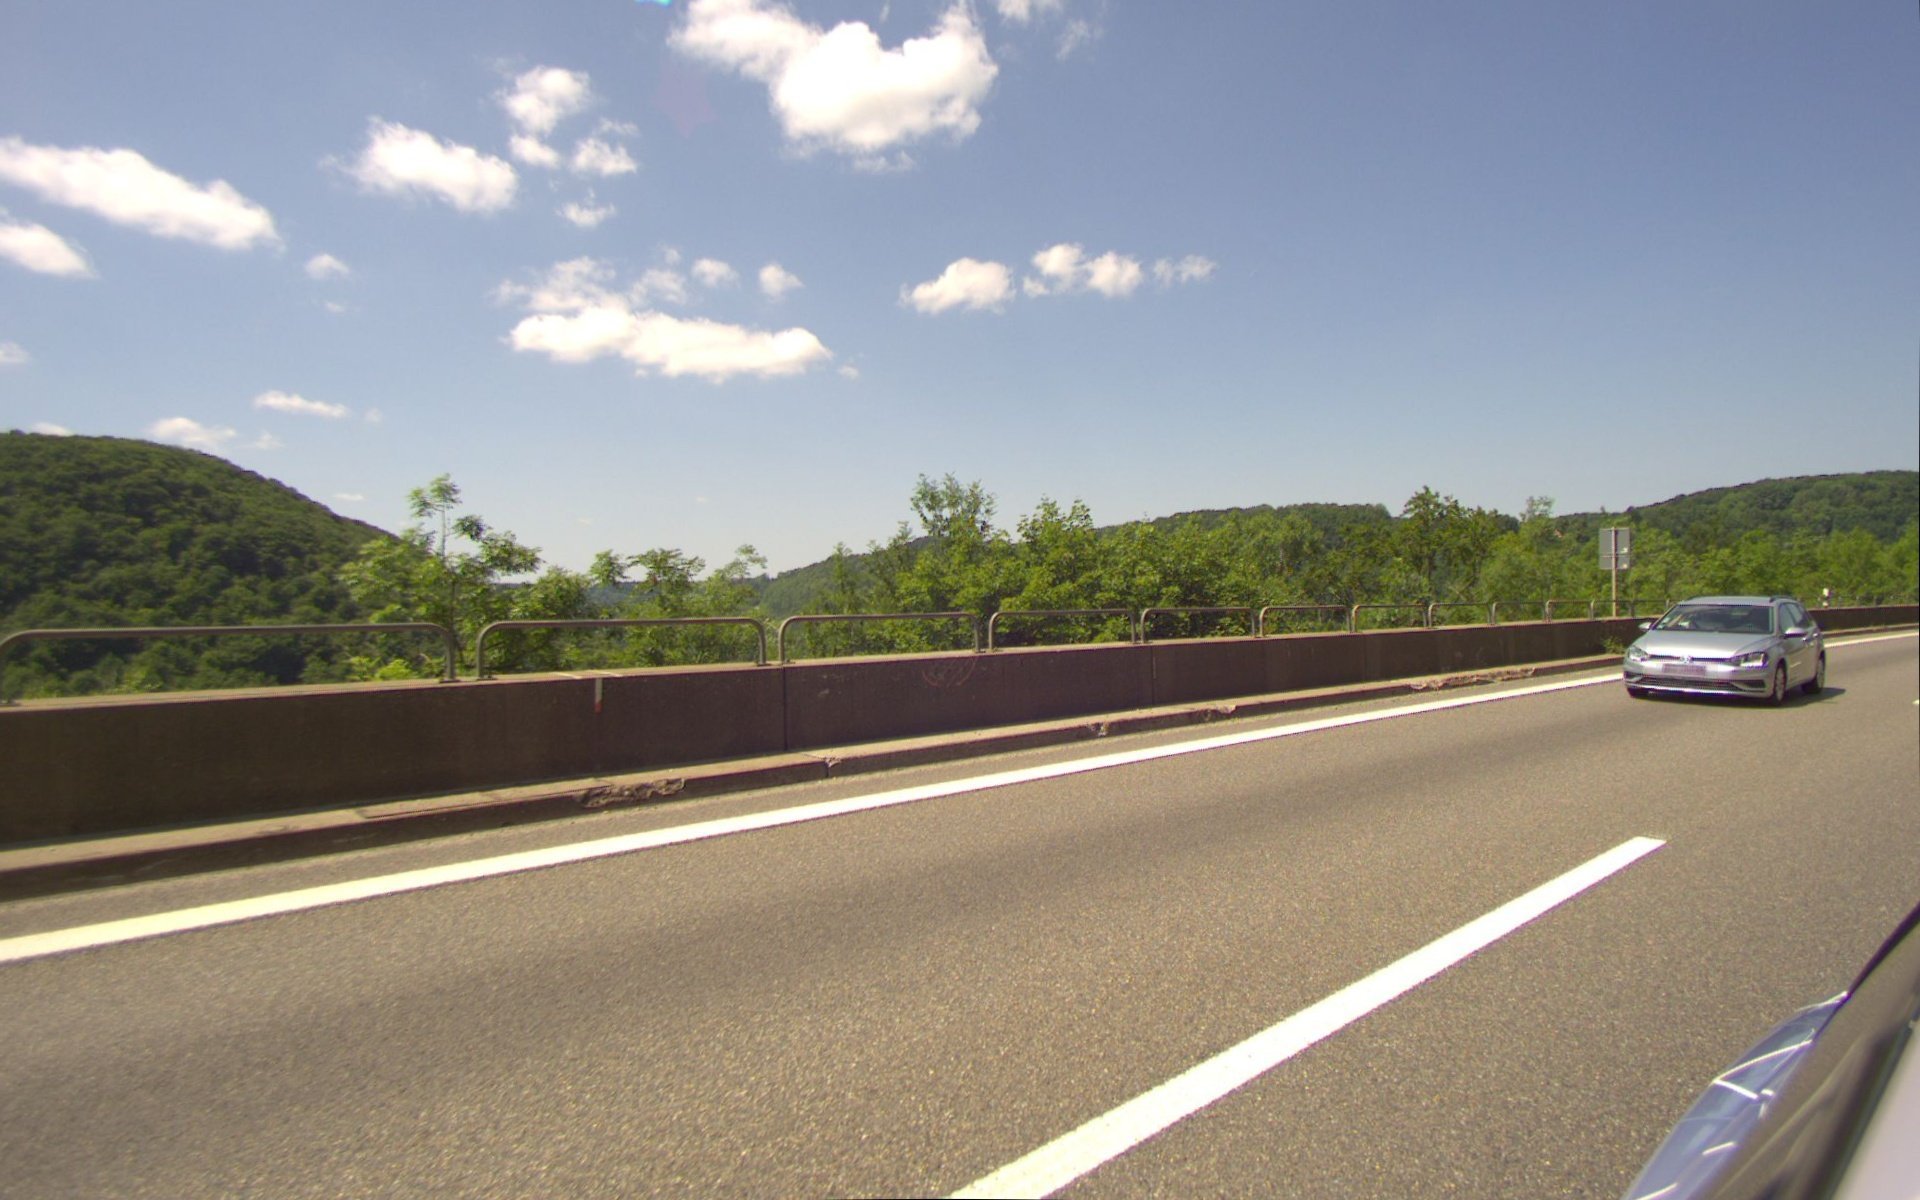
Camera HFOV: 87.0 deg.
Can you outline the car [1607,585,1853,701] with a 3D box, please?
[{"bbox_3d":[11.413,0.520,14.909,4.217,1.394,1.972,-1,2,-40],"label":"car"}]
